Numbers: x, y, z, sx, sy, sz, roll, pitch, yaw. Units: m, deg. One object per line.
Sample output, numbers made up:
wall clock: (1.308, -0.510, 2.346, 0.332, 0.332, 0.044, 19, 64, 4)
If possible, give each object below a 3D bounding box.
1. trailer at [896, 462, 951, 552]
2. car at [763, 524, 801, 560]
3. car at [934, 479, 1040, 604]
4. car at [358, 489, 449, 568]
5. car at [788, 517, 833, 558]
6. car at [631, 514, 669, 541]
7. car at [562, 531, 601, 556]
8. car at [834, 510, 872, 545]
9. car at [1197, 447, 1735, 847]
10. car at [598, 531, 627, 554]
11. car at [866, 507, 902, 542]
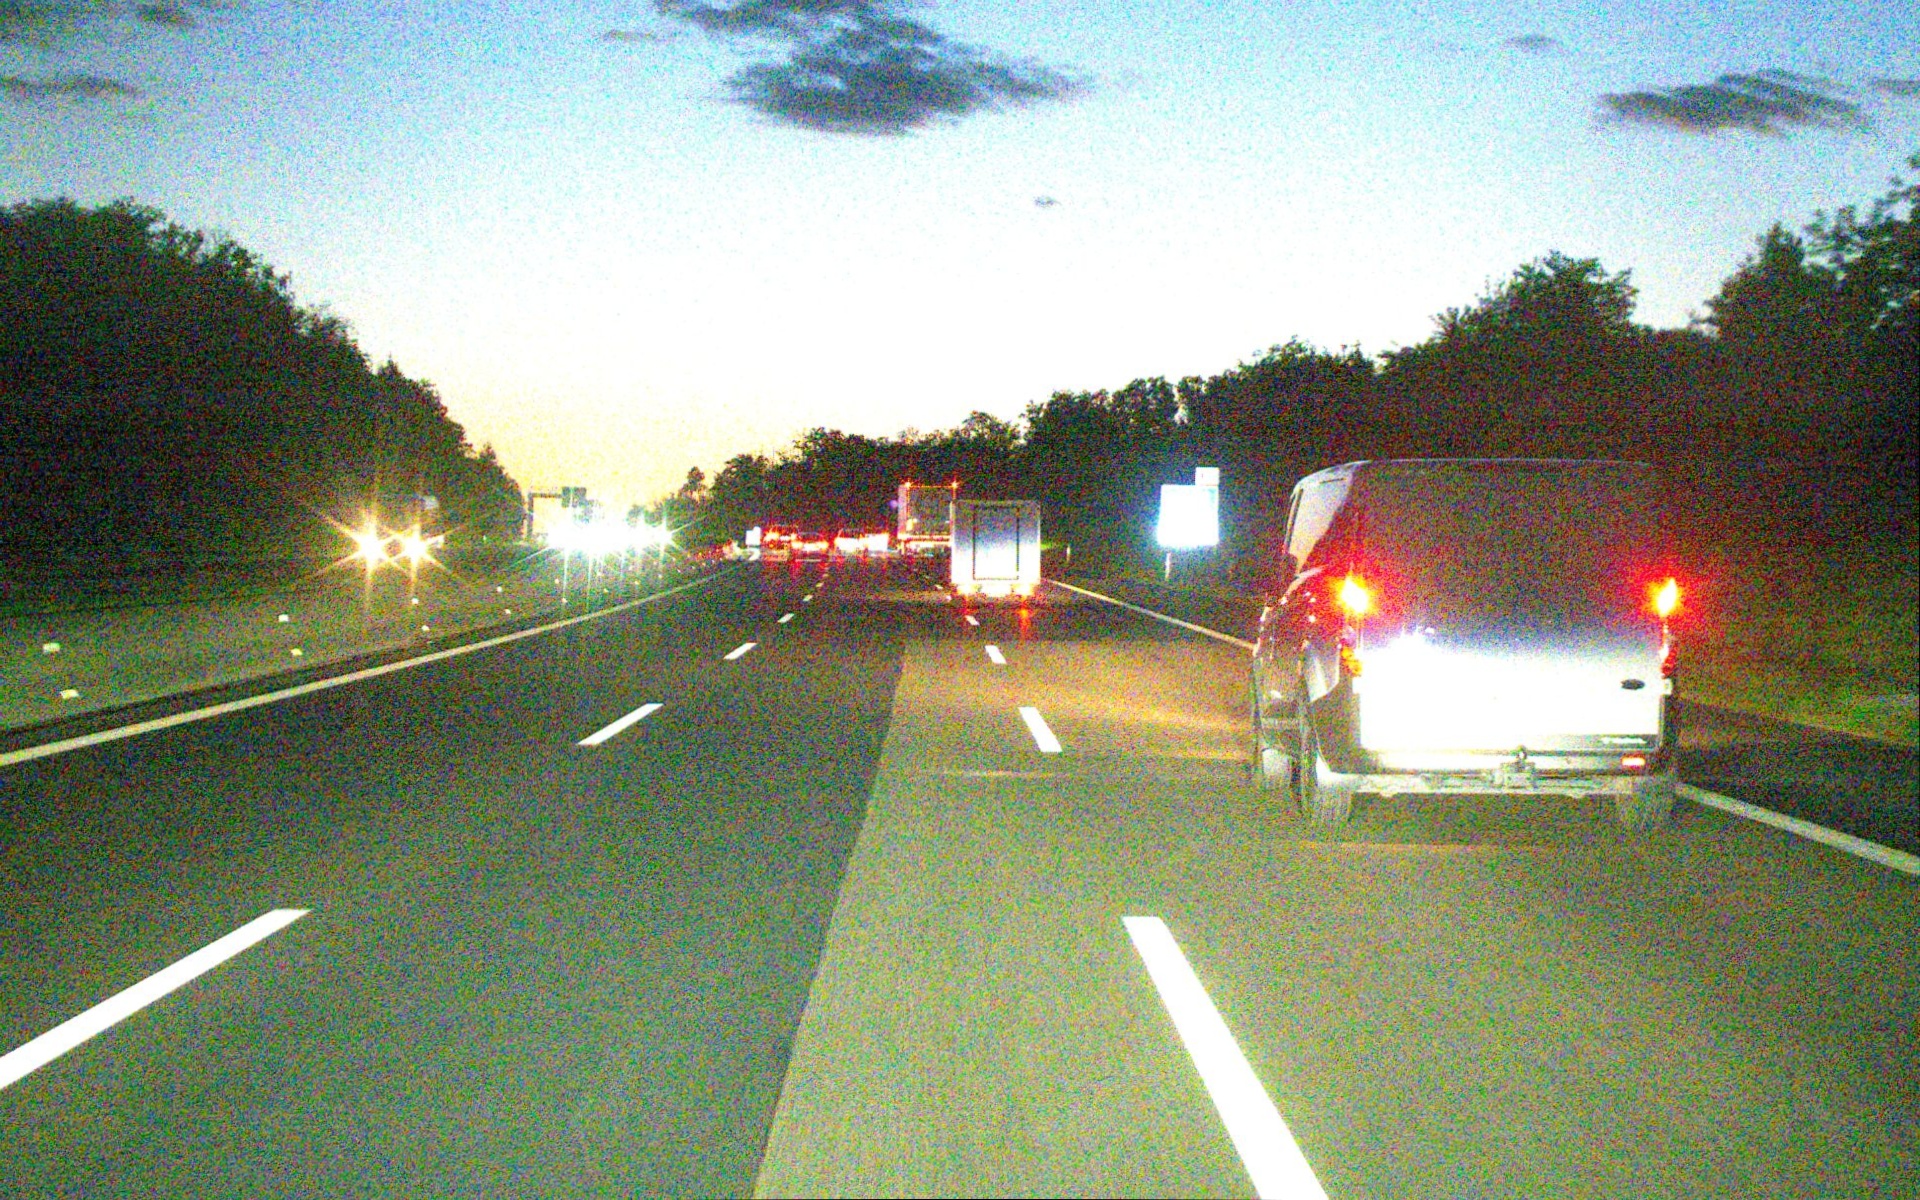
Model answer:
trailer: (-1.965, -4.928, 187.203, 2.829, 4.242, 17.048, 1, -1, 0)
car: (-9.808, -3.180, 189.258, 1.993, 1.810, 4.000, 1, -1, -2)
car: (0.556, -1.295, 76.440, 2.032, 2.638, 5.725, 1, 1, -3)
car: (-18.336, -2.353, 113.456, 2.101, 2.509, 6.216, 1, 1, -1)
car: (-7.007, -2.932, 160.894, 1.993, 1.788, 4.000, 1, -1, -4)
car: (-19.144, -4.481, 212.656, 2.010, 1.664, 4.483, 0, 1, -1)
car: (-22.646, -3.402, 205.656, 2.010, 1.462, 4.209, 1, 1, -3)
car: (-5.883, -3.991, 188.853, 1.993, 1.788, 4.000, 1, -1, -1)
car: (2.747, 0.195, 20.162, 2.115, 1.994, 5.664, 1, 1, -2)
car: (-25.462, -4.214, 251.847, 2.010, 1.664, 4.949, 1, 1, -4)
car: (-5.010, -4.922, 225.261, 1.993, 2.110, 4.001, 1, -1, -6)
